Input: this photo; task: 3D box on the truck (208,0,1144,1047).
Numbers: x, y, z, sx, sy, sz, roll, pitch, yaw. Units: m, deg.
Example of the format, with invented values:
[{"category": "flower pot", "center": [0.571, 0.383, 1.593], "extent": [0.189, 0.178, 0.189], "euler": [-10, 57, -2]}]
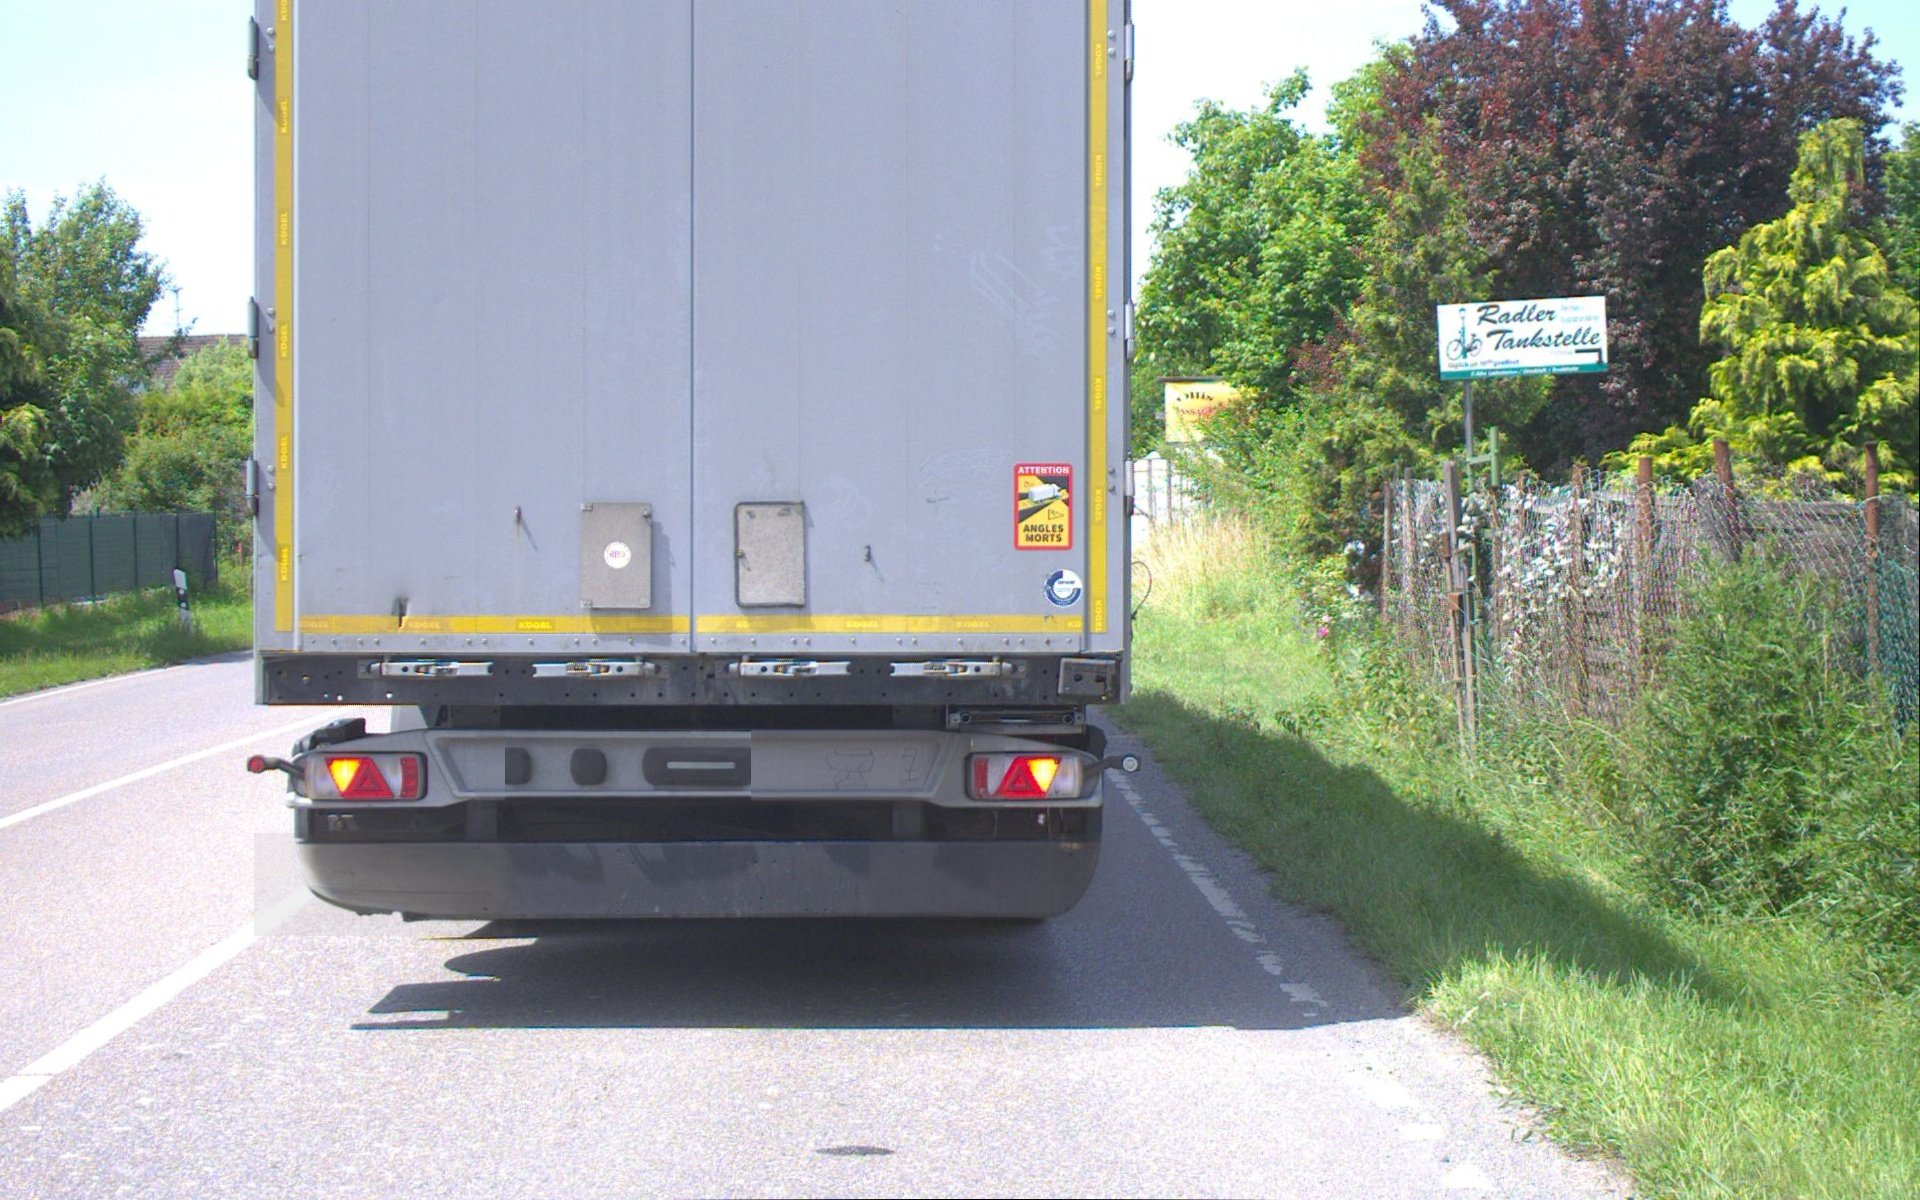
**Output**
[{"category": "truck", "center": [-1.008, -0.791, 14.177], "extent": [2.647, 3.903, 8.826], "euler": [0, 1, -3]}]
